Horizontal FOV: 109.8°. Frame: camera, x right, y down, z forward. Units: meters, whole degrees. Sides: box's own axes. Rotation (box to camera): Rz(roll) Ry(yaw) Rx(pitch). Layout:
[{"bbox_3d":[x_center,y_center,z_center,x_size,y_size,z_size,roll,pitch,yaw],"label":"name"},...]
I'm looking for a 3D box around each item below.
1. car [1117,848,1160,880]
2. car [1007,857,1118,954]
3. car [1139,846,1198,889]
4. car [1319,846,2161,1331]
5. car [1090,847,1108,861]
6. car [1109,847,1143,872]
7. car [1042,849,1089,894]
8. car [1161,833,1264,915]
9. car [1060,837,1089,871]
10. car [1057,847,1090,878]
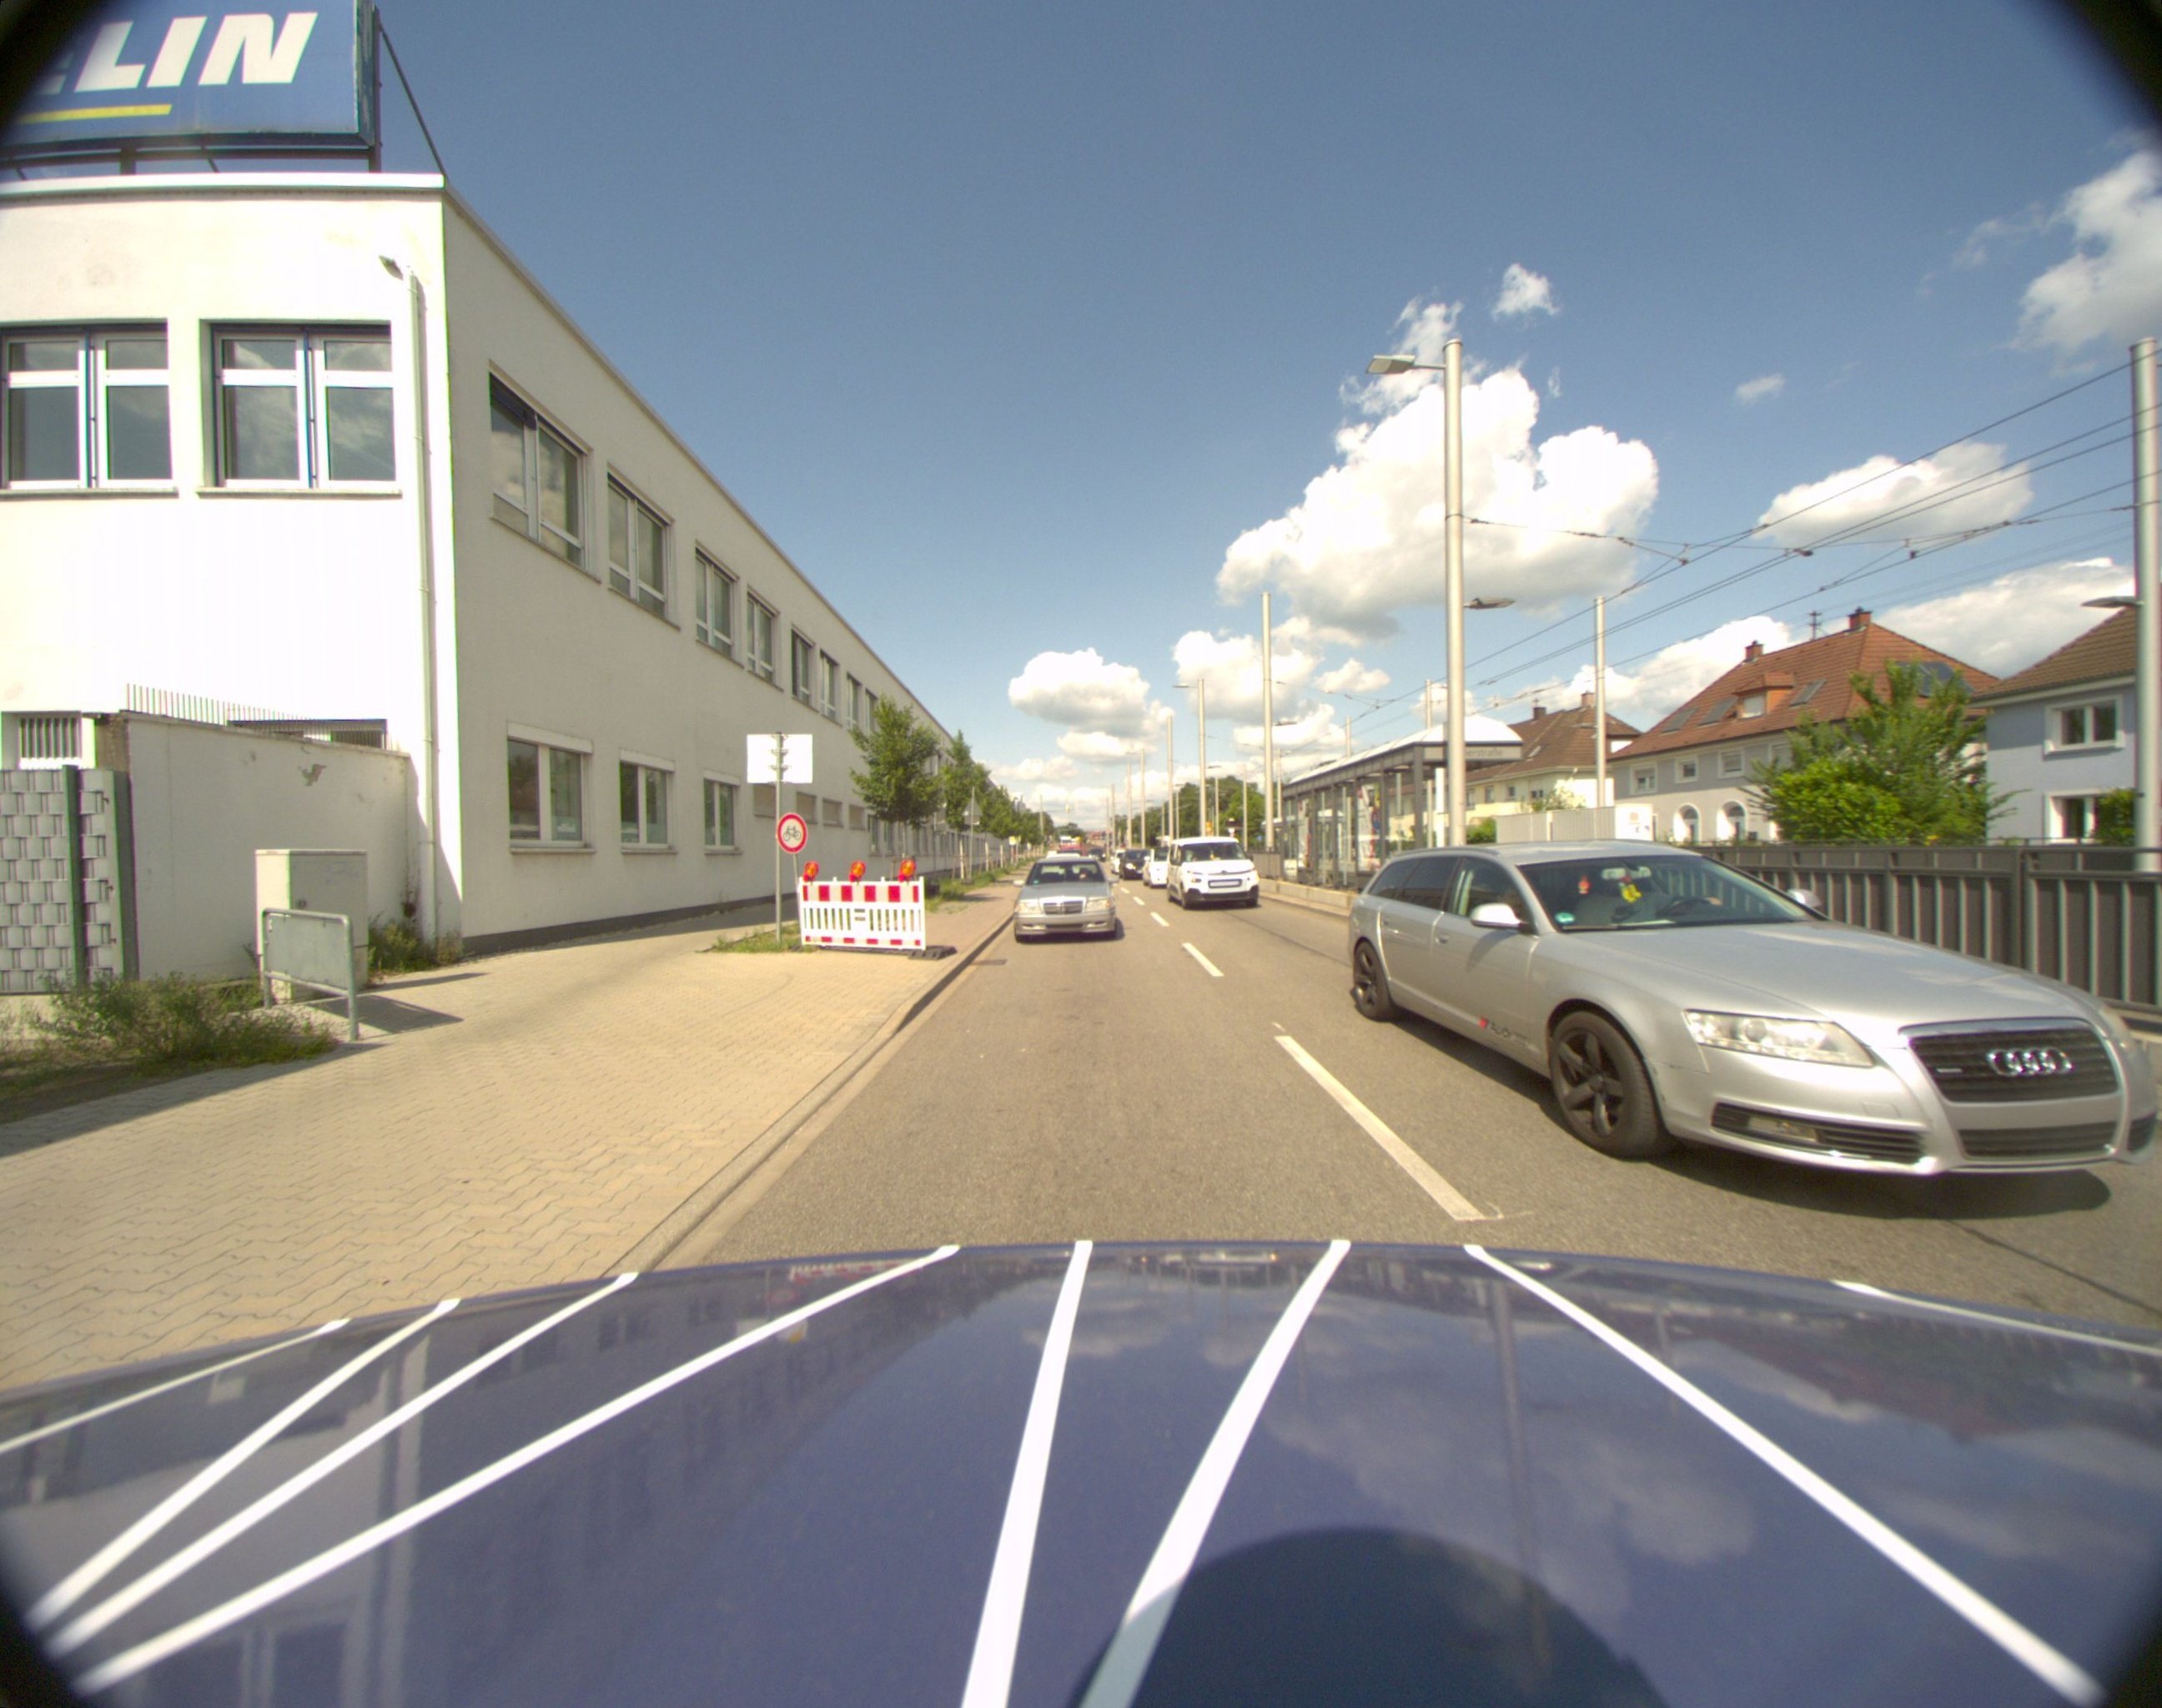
[{"bbox_3d":[2.794,0.444,37.619,1.680,1.414,3.557,-3,1,-3],"label":"car"},{"bbox_3d":[-0.340,0.843,14.468,1.725,1.389,4.461,-3,1,-1],"label":"car"},{"bbox_3d":[3.333,0.487,29.447,1.680,1.495,3.392,-3,1,-3],"label":"car"},{"bbox_3d":[3.218,0.738,4.833,1.799,1.463,4.720,-3,1,-1],"label":"car"},{"bbox_3d":[1.900,-0.050,82.988,1.698,1.350,4.497,-3,1,-1],"label":"car"},{"bbox_3d":[2.720,0.321,46.535,1.698,1.350,4.497,-3,1,-1],"label":"car"},{"bbox_3d":[-0.612,0.631,30.006,1.664,1.564,3.999,-3,1,-1],"label":"car"},{"bbox_3d":[3.250,0.413,19.594,1.799,1.805,4.328,-3,1,-1],"label":"car"},{"bbox_3d":[-0.488,-0.037,52.026,1.787,2.135,5.168,-3,1,-1],"label":"car"},{"bbox_3d":[-0.440,0.414,41.728,1.664,1.530,3.999,-3,1,-1],"label":"car"}]
